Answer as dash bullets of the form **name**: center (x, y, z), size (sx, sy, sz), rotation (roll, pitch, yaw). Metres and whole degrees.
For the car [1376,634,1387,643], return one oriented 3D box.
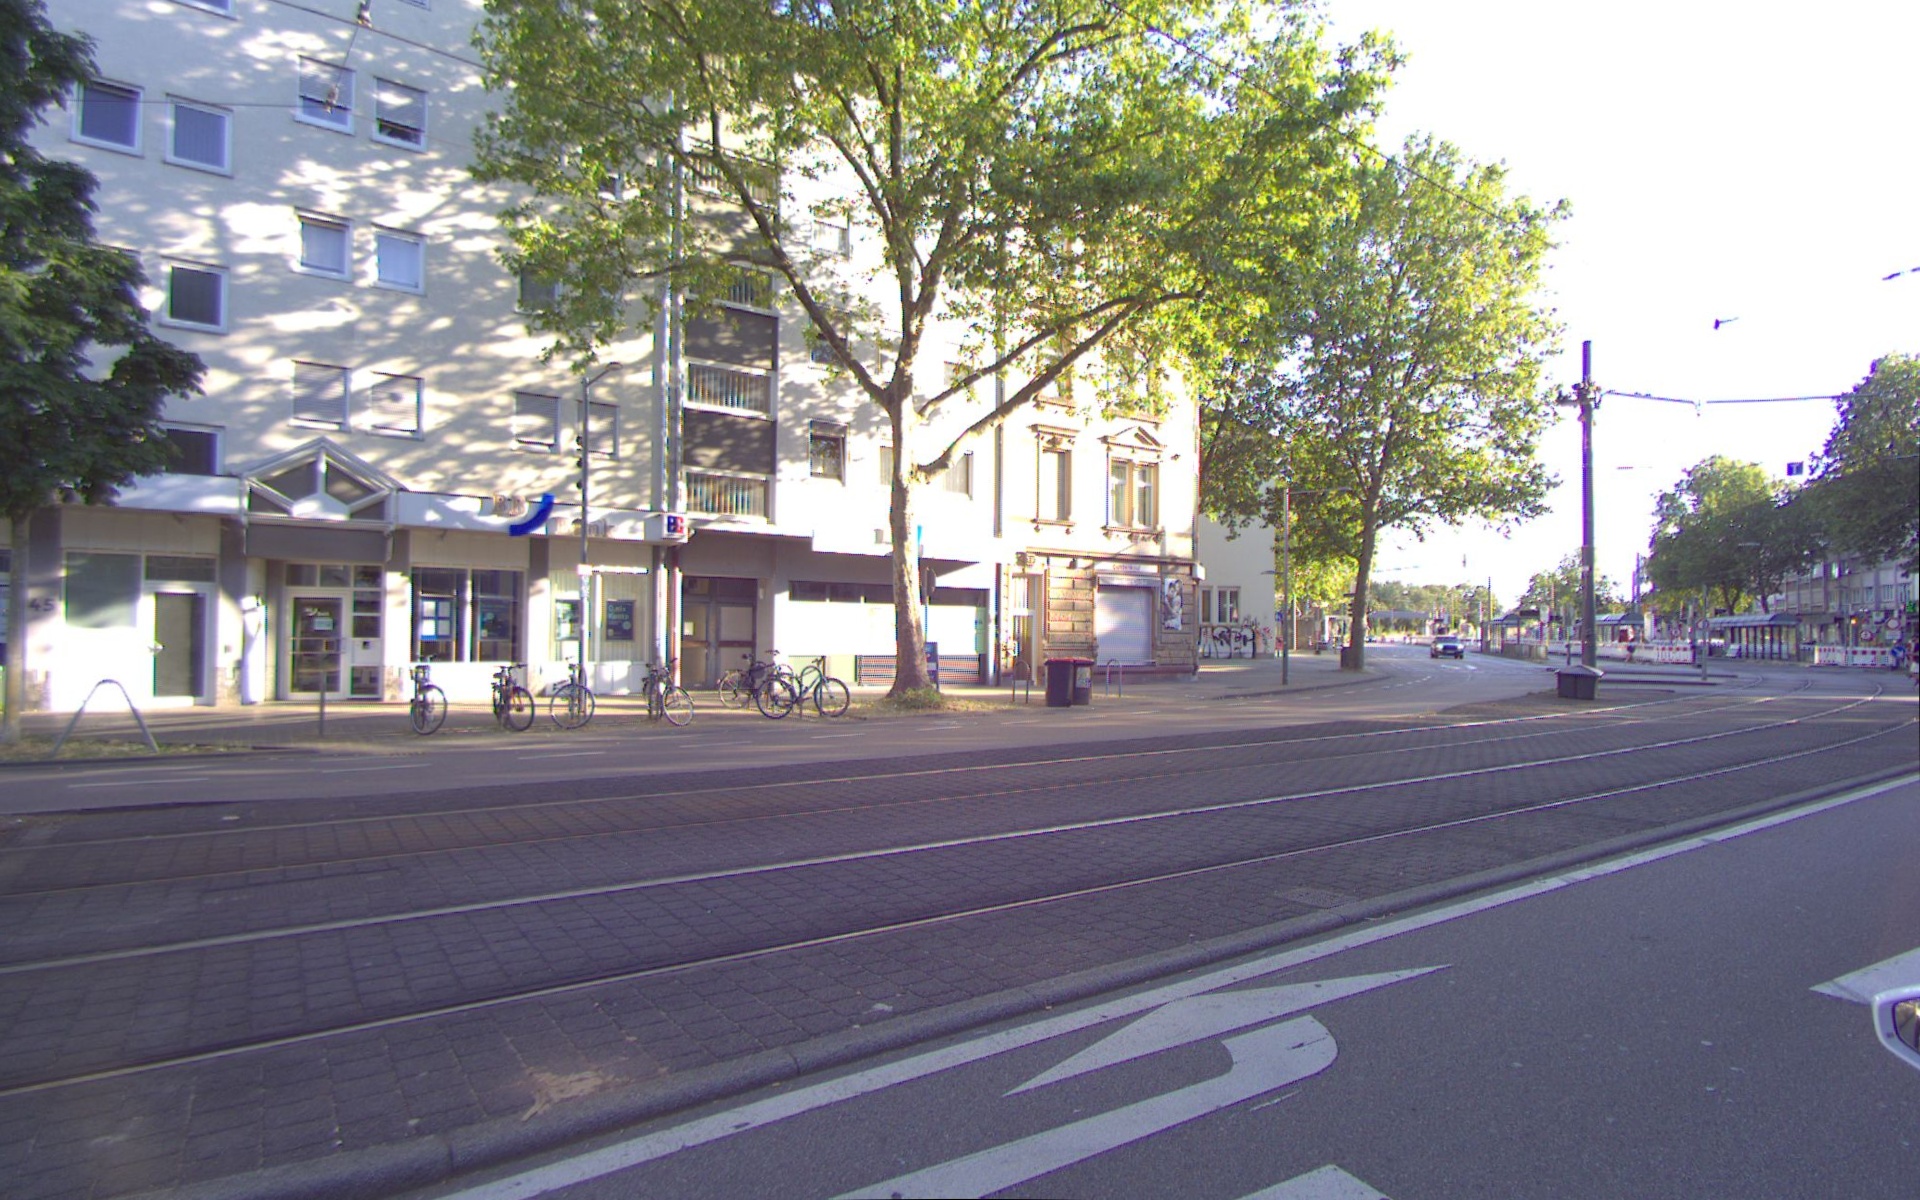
- **car**: center (79.445, 7.233, 189.321), size (1.814, 1.706, 3.716), rotation (0, -2, 23)

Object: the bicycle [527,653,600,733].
- **bicycle**: center (-6.357, 1.454, 16.069), size (0.724, 1.128, 1.729), rotation (2, -1, -34)

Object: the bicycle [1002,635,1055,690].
- **bicycle**: center (1.866, 1.694, 27.738), size (0.469, 1.430, 1.956), rotation (1, -1, -29)

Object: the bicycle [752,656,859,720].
- **bicycle**: center (-2.796, 1.580, 18.225), size (1.800, 1.091, 0.649), rotation (2, -2, -29)

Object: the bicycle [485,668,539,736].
- **bicycle**: center (-6.971, 1.553, 15.585), size (0.467, 0.900, 1.729), rotation (2, -1, -34)

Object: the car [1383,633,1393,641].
- **car**: center (89.562, 7.783, 210.271), size (1.814, 1.706, 3.716), rotation (0, -2, 23)

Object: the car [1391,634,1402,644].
- **car**: center (78.765, 7.067, 181.339), size (1.814, 1.706, 3.715), rotation (-2, -2, 23)

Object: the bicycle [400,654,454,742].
- **bicycle**: center (-7.836, 1.405, 14.742), size (0.506, 1.153, 1.729), rotation (2, -1, -34)

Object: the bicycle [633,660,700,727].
- **bicycle**: center (-5.033, 1.574, 17.162), size (0.584, 1.002, 1.729), rotation (2, -1, -34)

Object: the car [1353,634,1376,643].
- **car**: center (78.231, 7.413, 194.276), size (3.919, 1.661, 1.792), rotation (0, -2, 13)

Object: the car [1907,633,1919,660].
- **car**: center (64.686, 3.127, 66.071), size (1.960, 1.815, 4.000), rotation (2, -1, 20)

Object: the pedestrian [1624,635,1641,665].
- **pedestrian**: center (37.491, 2.794, 55.999), size (0.645, 1.678, 0.444), rotation (0, -2, 18)

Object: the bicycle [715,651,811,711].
- **bicycle**: center (-3.911, 1.594, 20.003), size (1.777, 1.132, 0.617), rotation (2, -2, -29)

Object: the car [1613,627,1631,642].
- **car**: center (88.437, 4.588, 134.183), size (1.593, 2.040, 3.110), rotation (0, -2, 26)

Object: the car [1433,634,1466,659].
- **car**: center (32.972, 3.118, 67.696), size (1.962, 1.661, 3.997), rotation (0, -2, 25)

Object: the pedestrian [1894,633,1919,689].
- **pedestrian**: center (30.435, 1.937, 31.996), size (0.510, 1.750, 0.893), rotation (1, -2, -27)
